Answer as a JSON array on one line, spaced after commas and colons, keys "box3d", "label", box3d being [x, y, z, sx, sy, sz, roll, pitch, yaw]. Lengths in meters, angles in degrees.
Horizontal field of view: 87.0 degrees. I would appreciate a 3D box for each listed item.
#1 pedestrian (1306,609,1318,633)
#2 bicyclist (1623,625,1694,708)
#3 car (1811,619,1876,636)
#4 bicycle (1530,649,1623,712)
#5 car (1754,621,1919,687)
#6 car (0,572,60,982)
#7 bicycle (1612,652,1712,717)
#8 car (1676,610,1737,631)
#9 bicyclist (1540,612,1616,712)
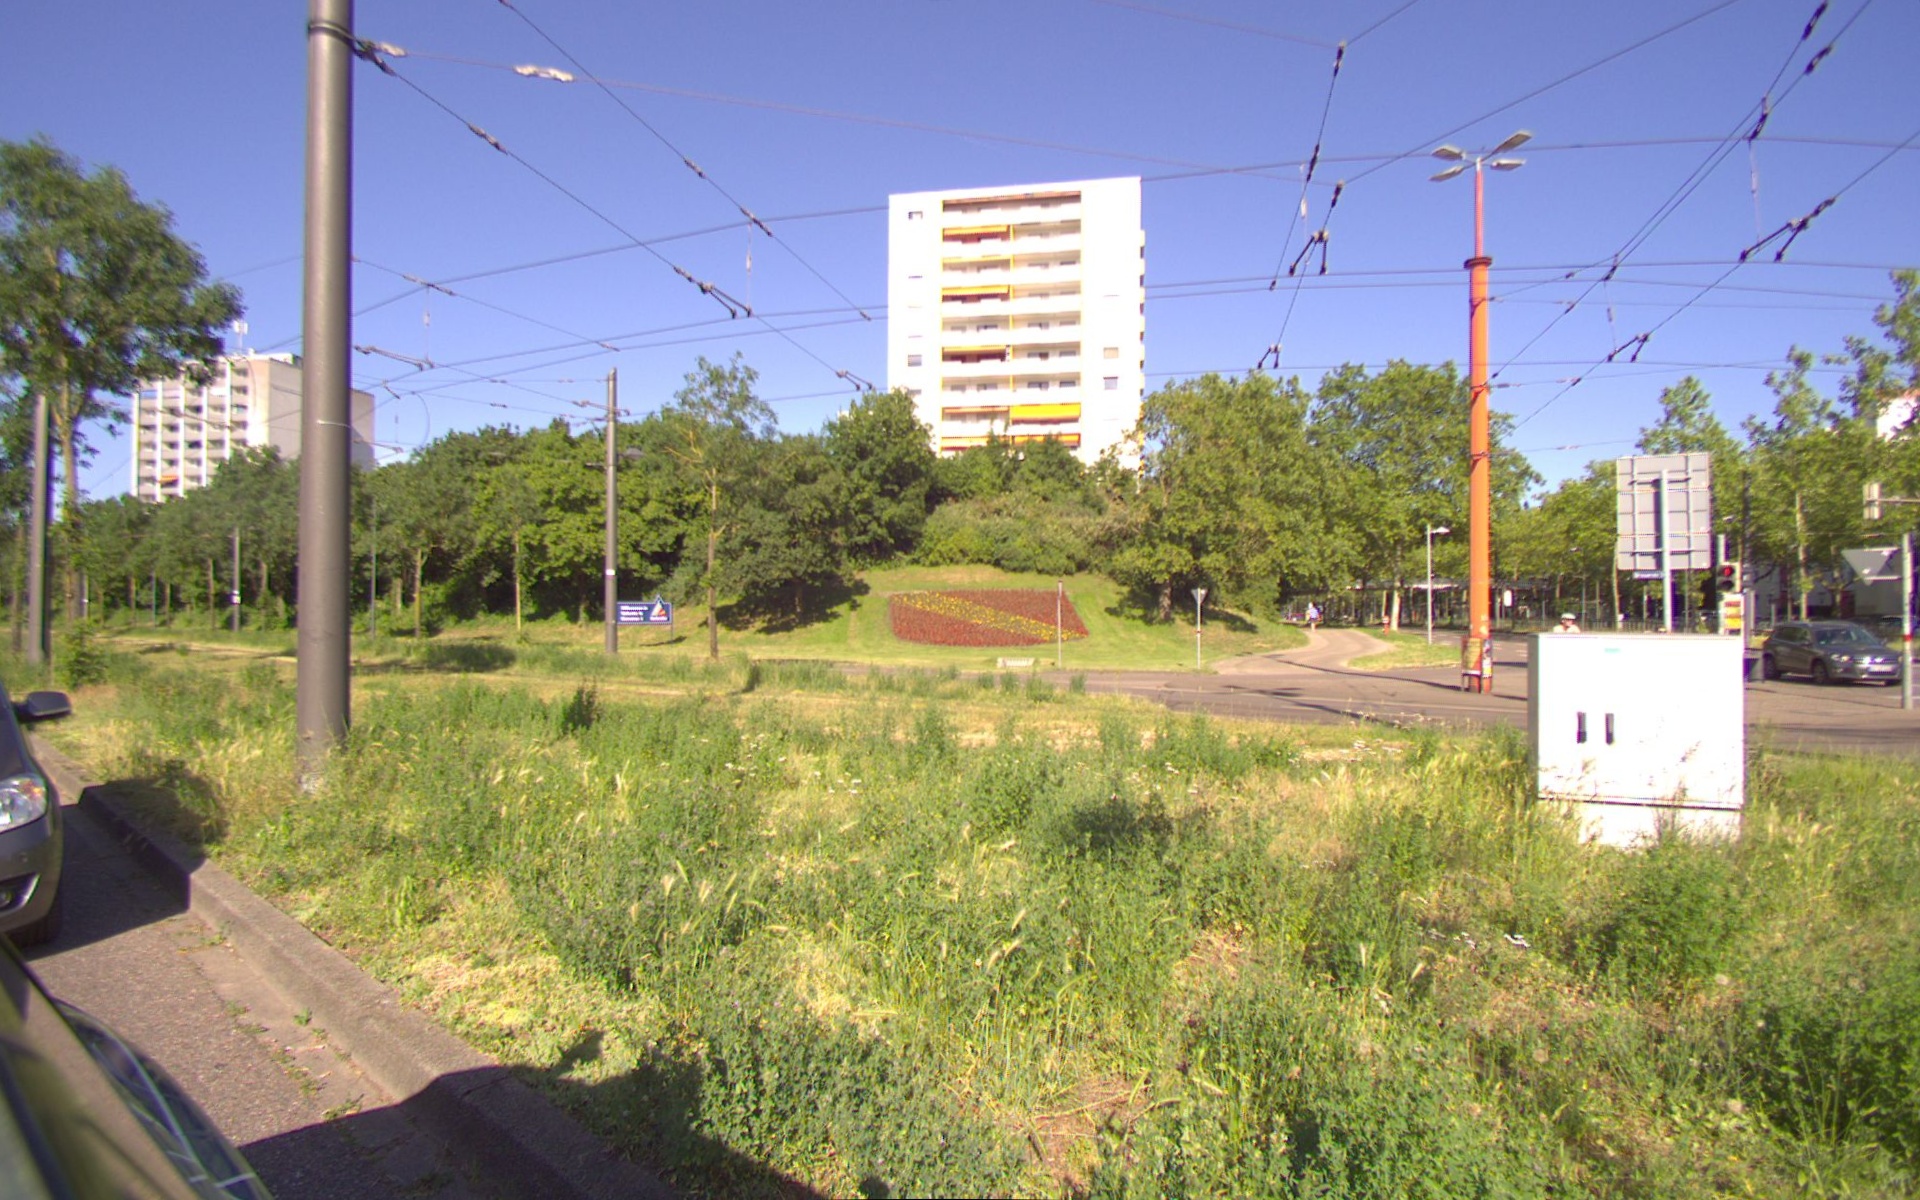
[{"box3d": [23.466, 1.397, 67.473, 0.682, 1.568, 0.984, -1, 0, 22], "label": "pedestrian"}, {"box3d": [13.494, 1.269, 19.580, 0.710, 1.536, 0.924, -1, 0, 0], "label": "bicyclist"}, {"box3d": [64.410, 2.000, 73.837, 1.425, 1.197, 3.423, -1, 0, -41], "label": "car"}, {"box3d": [12.072, 1.551, 19.883, 0.571, 1.079, 1.917, -1, 0, -2], "label": "bicycle"}, {"box3d": [23.319, 1.375, 26.954, 1.900, 1.507, 4.026, -1, 0, 15], "label": "car"}, {"box3d": [-5.822, 0.752, 4.884, 3.998, 1.652, 1.726, -1, 0, 41], "label": "car"}, {"box3d": [13.507, 1.599, 19.530, 0.571, 1.079, 1.916, -1, 0, 0], "label": "bicycle"}, {"box3d": [72.149, 1.954, 97.863, 1.909, 1.999, 4.350, 1, -2, -38], "label": "car"}, {"box3d": [12.118, 1.195, 19.866, 0.880, 1.881, 0.924, -1, 0, -2], "label": "bicyclist"}]
